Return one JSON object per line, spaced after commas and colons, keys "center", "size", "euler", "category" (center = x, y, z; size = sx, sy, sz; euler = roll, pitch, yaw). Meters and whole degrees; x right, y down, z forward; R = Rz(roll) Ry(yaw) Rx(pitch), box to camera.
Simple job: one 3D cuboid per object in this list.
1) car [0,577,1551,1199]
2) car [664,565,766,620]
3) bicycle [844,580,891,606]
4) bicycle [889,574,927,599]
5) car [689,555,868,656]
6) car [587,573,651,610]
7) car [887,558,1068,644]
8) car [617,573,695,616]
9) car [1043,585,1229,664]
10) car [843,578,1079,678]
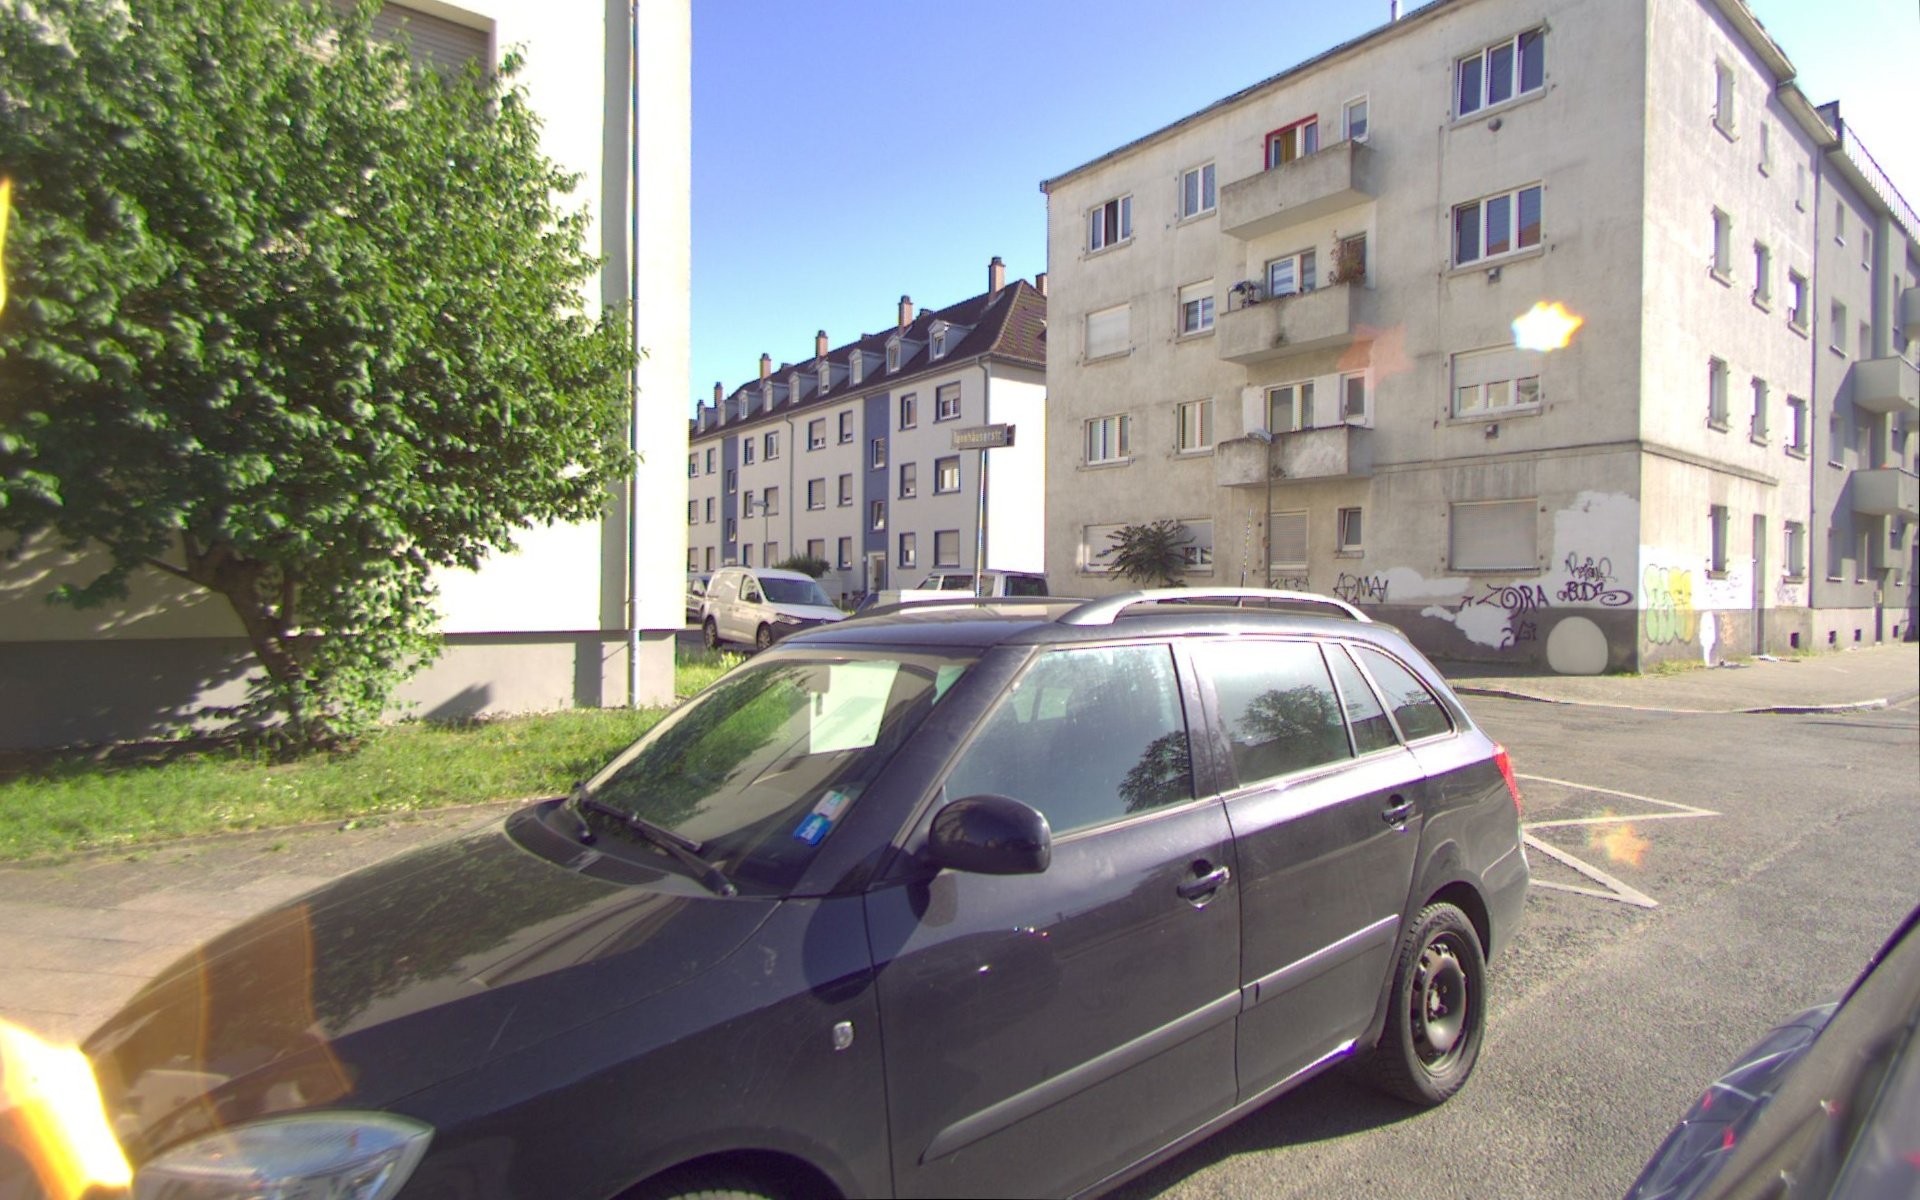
{"center": [-0.039, 0.729, 2.808], "size": [4.013, 1.568, 1.621], "euler": [-1, 2, -39], "category": "car"}
{"center": [-9.182, -0.290, 37.600], "size": [1.772, 1.853, 4.946], "euler": [3, -1, -37], "category": "car"}
{"center": [-3.961, -0.326, 43.474], "size": [2.038, 0.973, 0.500], "euler": [-5, 4, -38], "category": "bicycle"}
{"center": [-2.202, -0.585, 42.547], "size": [0.491, 0.973, 2.074], "euler": [-4, 4, -37], "category": "bicycle"}
{"center": [-3.883, 0.084, 21.012], "size": [1.769, 1.869, 4.538], "euler": [3, -1, -36], "category": "car"}
{"center": [-15.534, -0.398, 46.006], "size": [1.618, 1.538, 3.700], "euler": [4, -1, -37], "category": "car"}
{"center": [0.329, -0.007, 25.586], "size": [1.921, 1.958, 4.853], "euler": [2, 0, -38], "category": "car"}
{"center": [-12.713, -0.240, 42.209], "size": [1.647, 1.611, 4.161], "euler": [4, -2, -38], "category": "car"}
{"center": [3.616, 0.463, 21.328], "size": [1.660, 1.477, 3.720], "euler": [2, 0, -37], "category": "car"}
{"center": [-0.106, 0.400, 16.843], "size": [1.770, 1.433, 4.046], "euler": [3, -1, -38], "category": "car"}
